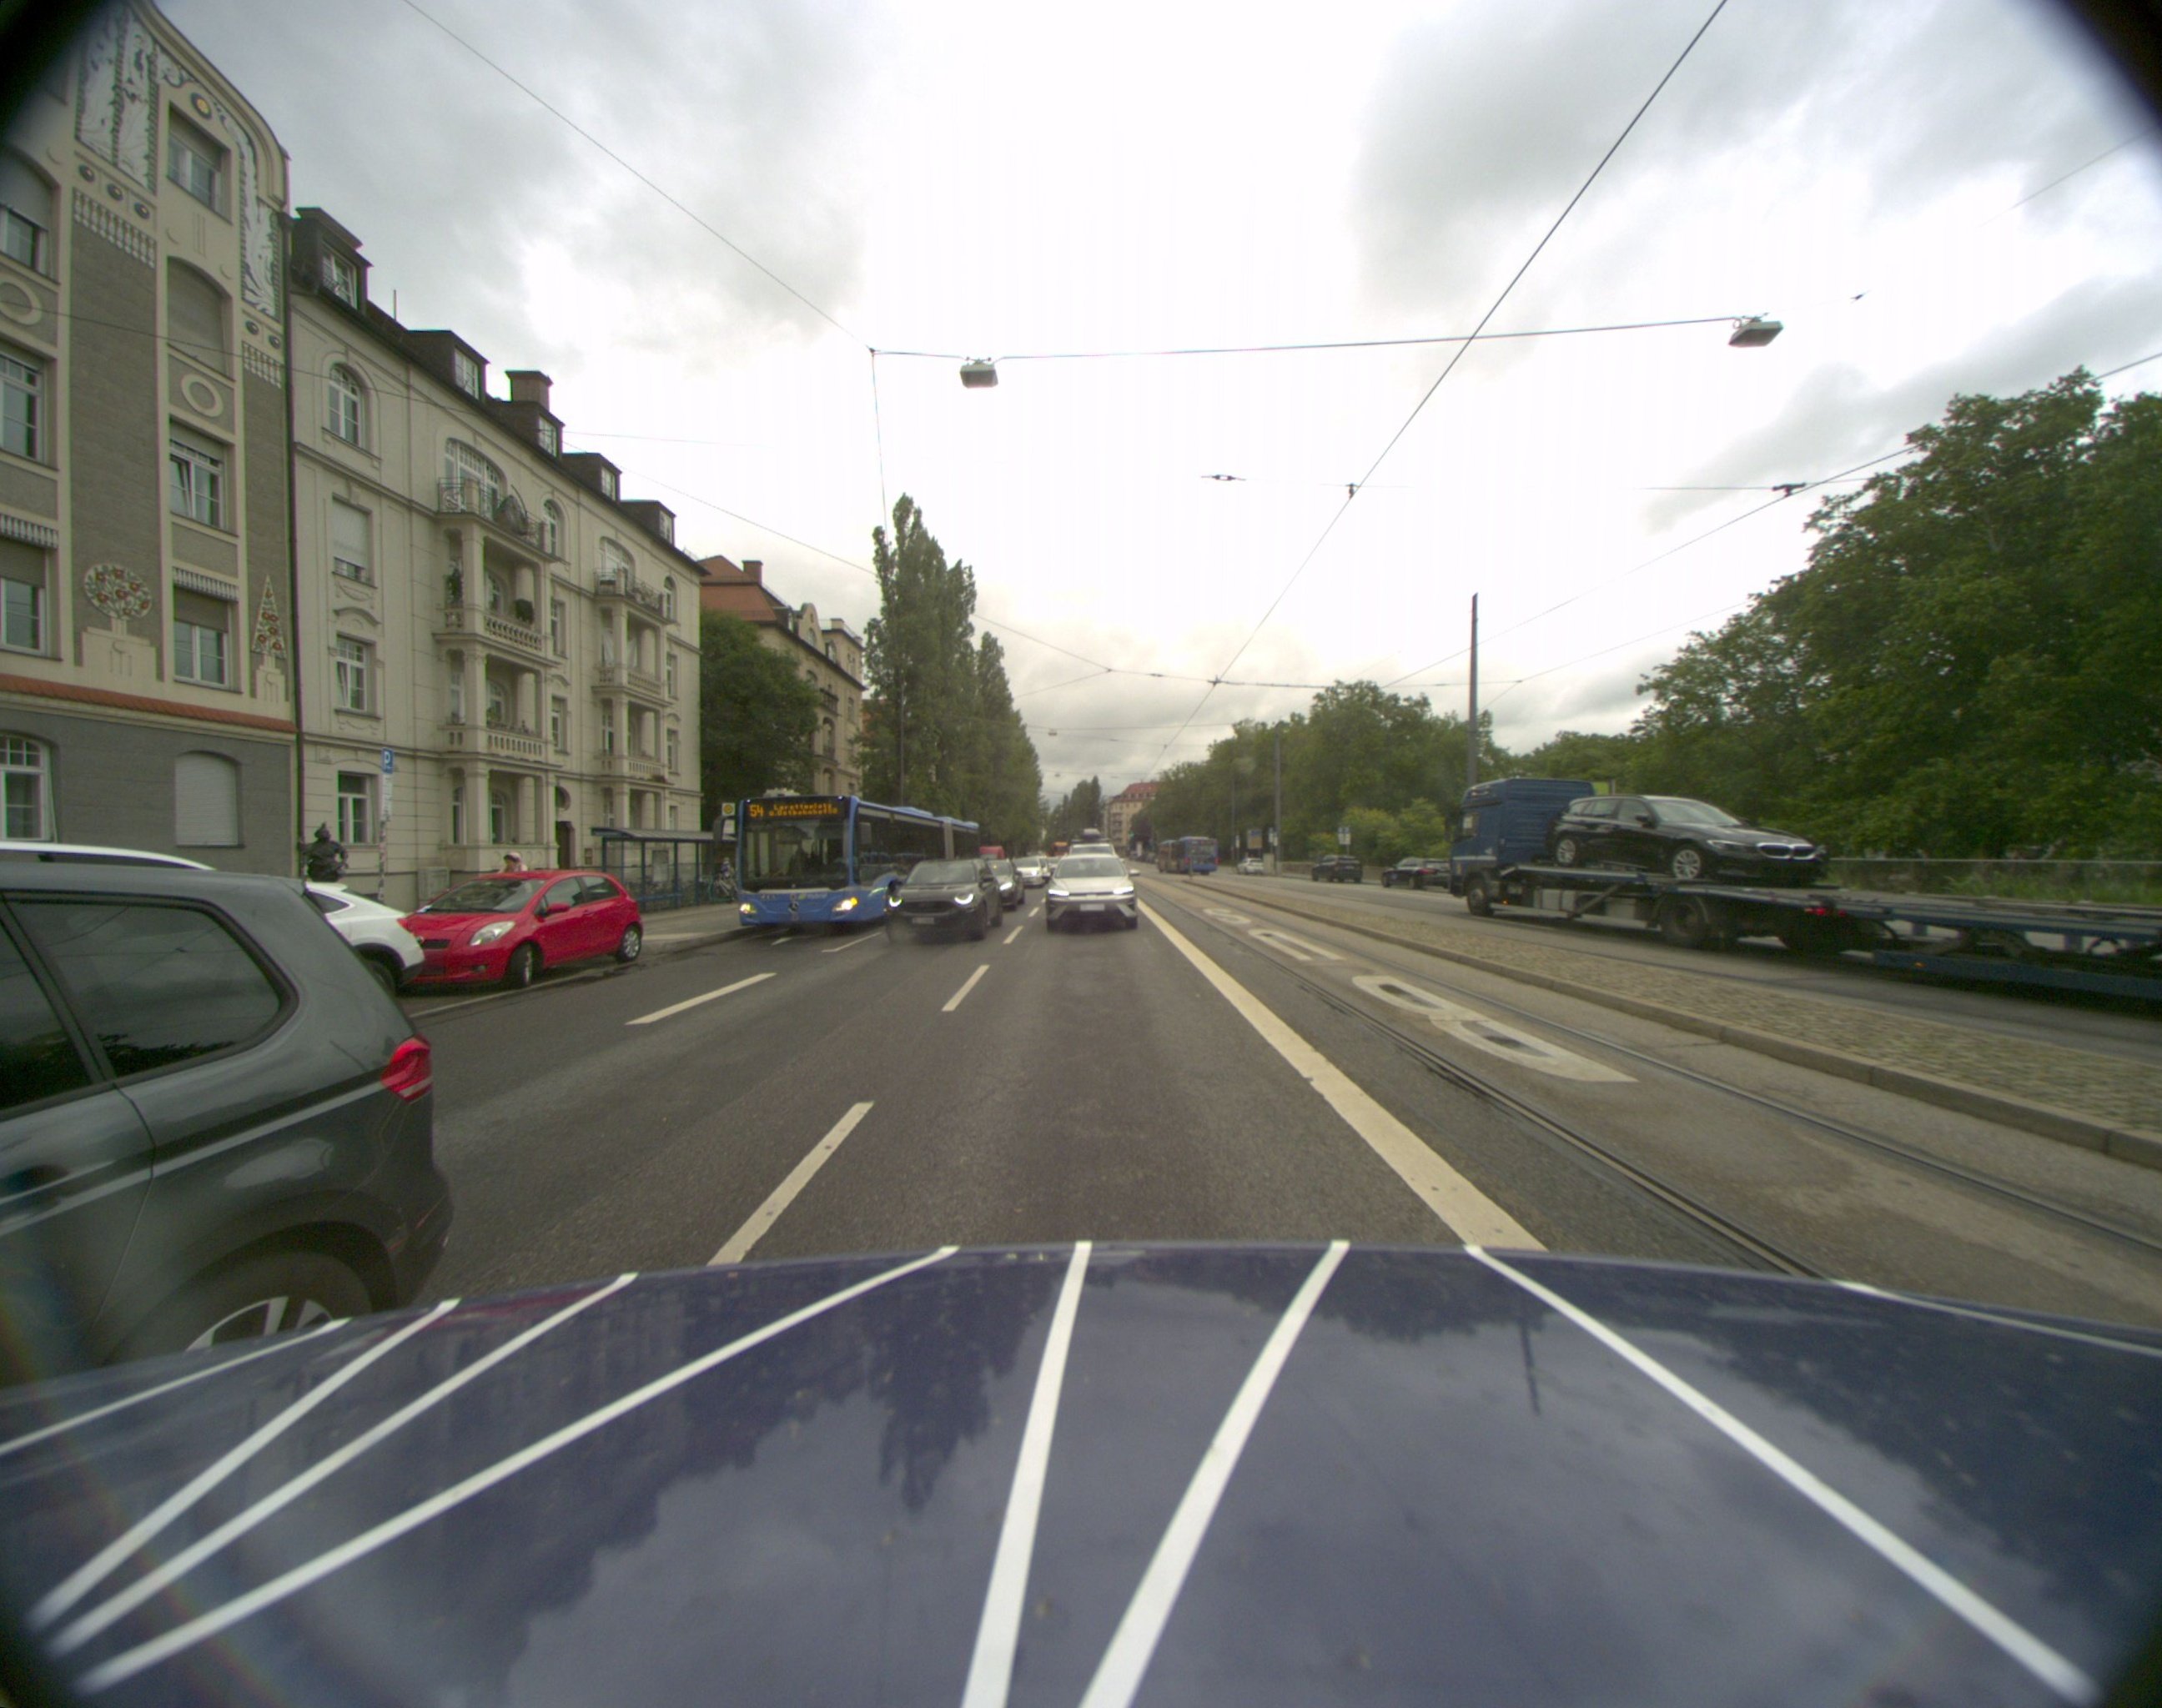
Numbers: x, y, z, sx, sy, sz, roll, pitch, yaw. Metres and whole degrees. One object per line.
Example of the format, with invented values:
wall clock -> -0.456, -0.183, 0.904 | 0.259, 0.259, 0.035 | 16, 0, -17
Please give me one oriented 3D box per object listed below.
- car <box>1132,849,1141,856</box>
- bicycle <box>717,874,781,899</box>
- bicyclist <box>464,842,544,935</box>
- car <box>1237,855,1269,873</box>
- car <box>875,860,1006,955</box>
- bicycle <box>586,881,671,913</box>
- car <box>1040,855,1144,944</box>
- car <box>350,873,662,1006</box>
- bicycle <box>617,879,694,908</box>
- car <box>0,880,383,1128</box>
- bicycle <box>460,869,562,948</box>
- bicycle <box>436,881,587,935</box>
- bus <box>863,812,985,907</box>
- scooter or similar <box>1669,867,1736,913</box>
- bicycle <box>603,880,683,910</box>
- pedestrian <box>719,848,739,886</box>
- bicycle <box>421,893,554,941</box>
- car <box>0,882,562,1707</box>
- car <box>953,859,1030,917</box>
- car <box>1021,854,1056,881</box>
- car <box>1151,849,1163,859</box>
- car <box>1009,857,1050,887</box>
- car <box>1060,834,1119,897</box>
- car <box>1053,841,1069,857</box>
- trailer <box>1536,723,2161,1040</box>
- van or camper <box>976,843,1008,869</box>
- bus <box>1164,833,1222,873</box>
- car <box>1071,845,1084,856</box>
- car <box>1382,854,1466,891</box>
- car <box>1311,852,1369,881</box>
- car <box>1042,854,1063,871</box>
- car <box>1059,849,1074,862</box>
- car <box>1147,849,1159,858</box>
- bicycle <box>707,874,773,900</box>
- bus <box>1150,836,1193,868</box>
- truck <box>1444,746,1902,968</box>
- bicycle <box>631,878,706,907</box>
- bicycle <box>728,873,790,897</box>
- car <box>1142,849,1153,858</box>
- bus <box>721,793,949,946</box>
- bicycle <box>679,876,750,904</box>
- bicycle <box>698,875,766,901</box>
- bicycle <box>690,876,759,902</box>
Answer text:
car -> 12.255, -0.350, 168.142 | 1.809, 1.674, 4.000 | 0, 1, 0
bicycle -> -13.593, 1.314, 31.138 | 2.323, 0.916, 0.600 | -2, 1, -2
bicyclist -> -10.205, 0.587, 13.471 | 0.681, 1.594, 0.939 | 0, 1, 1
car -> 14.784, 0.840, 65.393 | 1.893, 1.521, 4.000 | 0, 1, 1
car -> -2.618, 0.938, 15.094 | 1.780, 1.495, 3.970 | -3, 0, 0
bicycle -> -14.913, 1.412, 25.074 | 2.323, 0.916, 0.640 | -2, 1, -2
car -> 0.252, 0.811, 15.946 | 1.812, 1.496, 4.952 | -2, 1, 1
car -> -8.039, 1.089, 11.137 | 1.730, 1.500, 3.742 | 0, 1, -1
bicycle -> -14.961, 1.397, 26.761 | 2.323, 0.916, 0.600 | -2, 1, -2
car -> -8.176, 1.072, 5.913 | 1.730, 1.567, 3.967 | 0, 1, 2
bicycle -> -10.198, 0.933, 13.679 | 0.424, 1.281, 1.778 | 0, 1, 2
bicycle -> -14.136, 1.328, 18.952 | 2.923, 1.142, 0.639 | -2, 1, -17
bus -> -5.602, 0.146, 28.861 | 2.637, 2.957, 8.533 | -2, 0, 1
scooter or similar -> 16.548, 0.933, 20.230 | 1.695, 1.165, 0.561 | 0, 1, -18
bicycle -> -14.925, 1.404, 25.925 | 2.323, 0.916, 0.600 | -2, 1, -2
pedestrian -> -17.497, 0.643, 37.782 | 0.609, 1.885, 0.673 | 0, 1, 2
bicycle -> -13.595, 1.433, 17.475 | 2.326, 0.916, 0.586 | -2, 1, -17
car -> -2.816, 0.944, 0.379 | 1.776, 1.637, 4.708 | 0, 1, 2
car -> -2.547, 0.919, 22.555 | 1.704, 1.425, 4.244 | -3, 0, 0
car -> -2.308, 0.711, 41.773 | 1.704, 1.379, 3.632 | 1, 0, 0
car -> 13.046, -0.016, 130.818 | 1.809, 1.674, 4.000 | 0, 1, 0
car -> -2.431, 0.830, 36.331 | 1.704, 1.360, 3.632 | 0, 0, 0
car -> 0.288, 0.368, 27.713 | 1.998, 2.100, 3.999 | 0, 1, 0
car -> -3.649, -0.972, 139.138 | 2.806, 2.836, 5.114 | 0, 1, 1
trailer -> 10.405, 0.254, 7.018 | 2.617, 2.667, 15.636 | 1, 0, -1
van or camper -> -7.547, 0.150, 65.138 | 2.124, 2.087, 5.513 | 0, 0, -1
bus -> 9.295, -0.127, 64.706 | 2.632, 2.950, 13.413 | 1, 0, -1
car -> -0.714, -0.712, 159.775 | 2.465, 2.178, 5.455 | 0, 1, 1
car -> 15.317, 0.786, 34.192 | 1.864, 1.517, 4.232 | 0, 1, 0
car -> 15.035, 0.706, 44.316 | 1.998, 1.561, 4.101 | 0, 1, 0
car -> -2.461, 0.726, 67.158 | 1.704, 1.513, 3.632 | 0, 0, 0
car -> -1.762, 0.137, 92.640 | 1.704, 1.513, 3.631 | 0, 1, 0
car -> 12.996, -0.086, 138.025 | 1.809, 1.674, 4.000 | 0, 1, 0
bicycle -> -13.637, 1.323, 30.402 | 2.323, 0.916, 0.600 | -2, 1, -2
bus -> 9.060, -0.249, 77.824 | 2.632, 2.950, 12.843 | 1, 0, -1
truck -> 10.202, 0.016, 14.580 | 2.572, 3.070, 7.689 | 1, 1, -1
bicycle -> -14.903, 1.387, 27.486 | 2.323, 0.916, 0.600 | -2, 1, -2
bicycle -> -13.576, 1.304, 32.044 | 2.323, 0.916, 0.600 | -2, 1, -2
car -> 12.785, -0.163, 146.691 | 1.809, 1.674, 4.000 | 0, 1, 0
bus -> -5.728, 0.279, 19.869 | 2.637, 2.957, 9.465 | -2, 0, 1
bicycle -> -13.721, 1.345, 28.471 | 2.323, 0.916, 0.600 | -2, 1, -2
bicycle -> -13.656, 1.330, 29.783 | 2.323, 0.916, 0.600 | -2, 1, -2
bicycle -> -13.691, 1.337, 29.191 | 2.323, 0.916, 0.600 | -2, 1, -2
